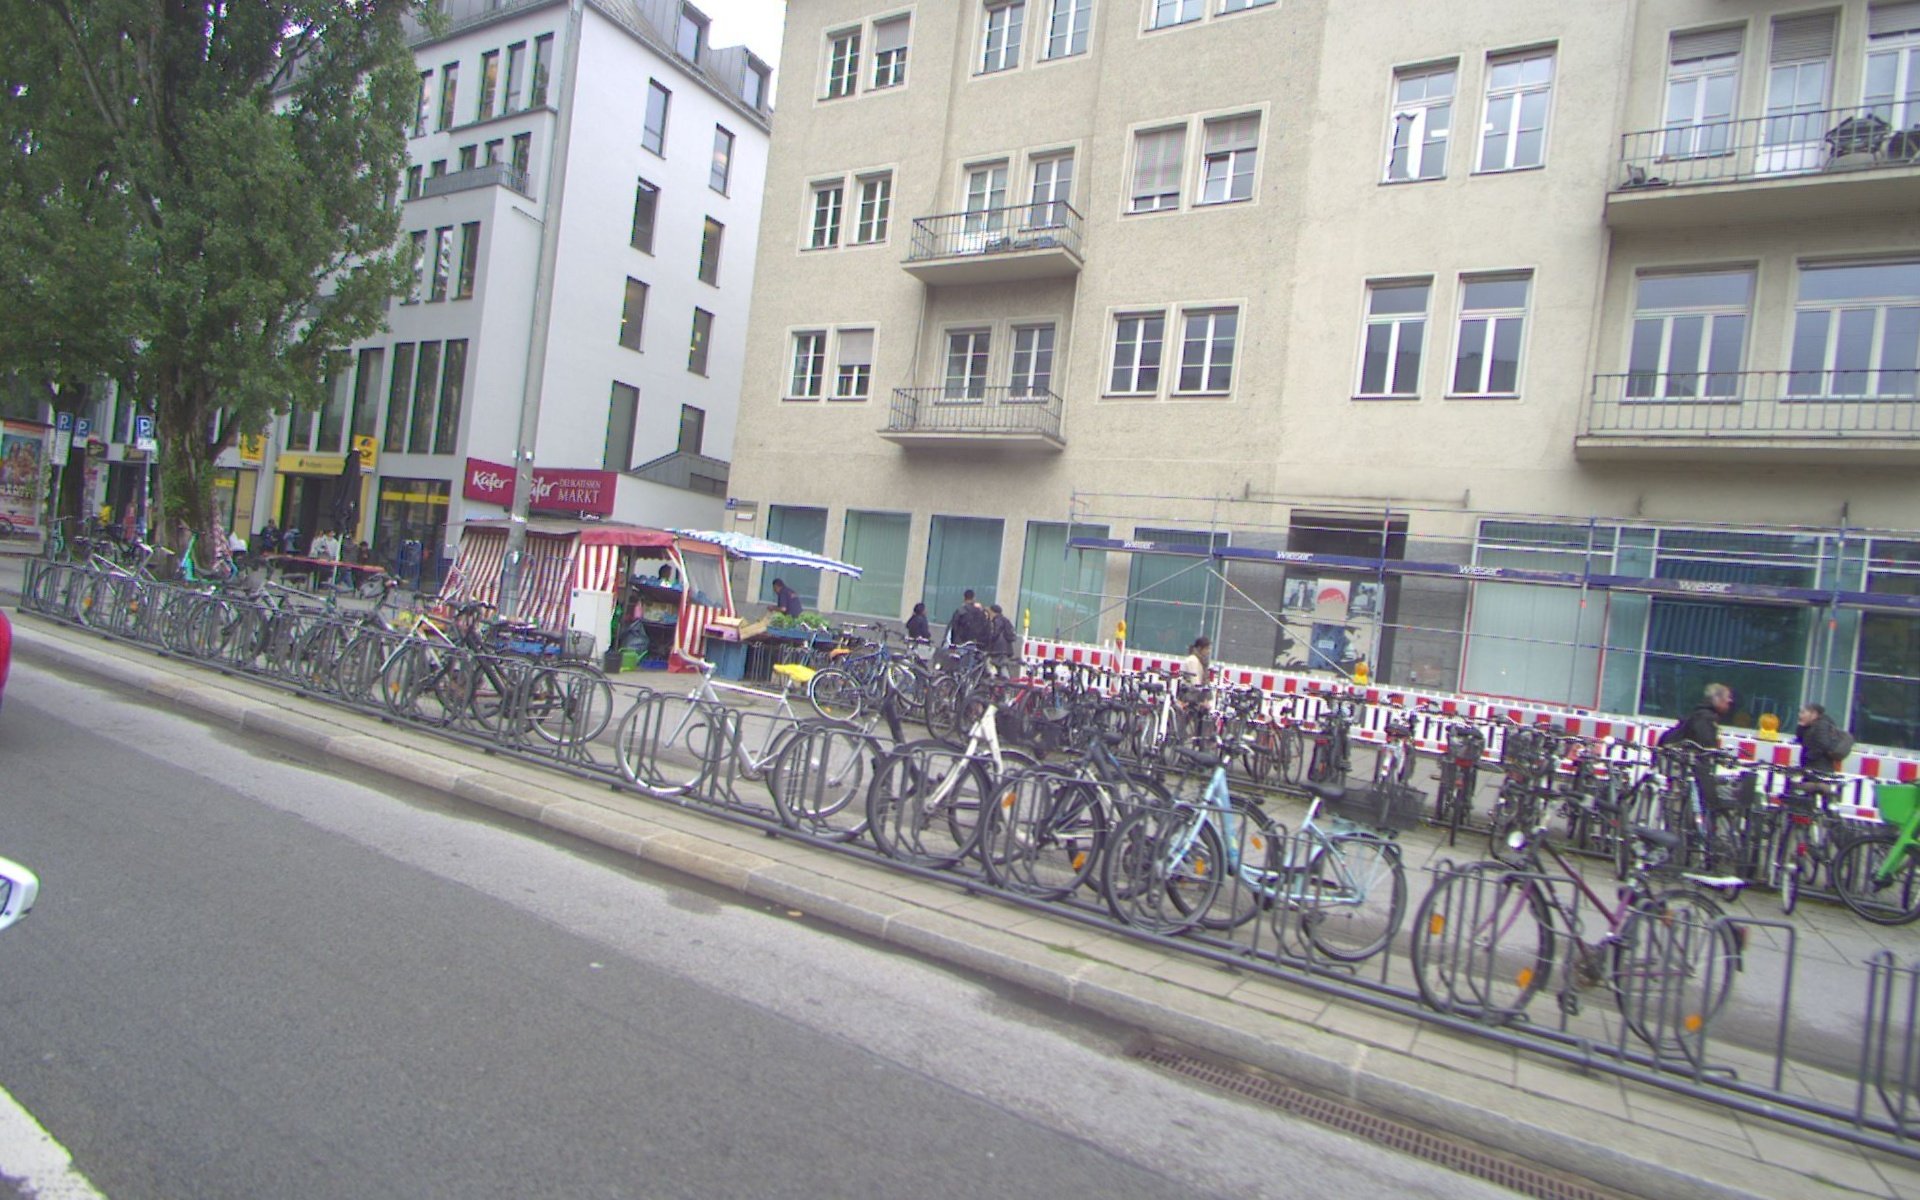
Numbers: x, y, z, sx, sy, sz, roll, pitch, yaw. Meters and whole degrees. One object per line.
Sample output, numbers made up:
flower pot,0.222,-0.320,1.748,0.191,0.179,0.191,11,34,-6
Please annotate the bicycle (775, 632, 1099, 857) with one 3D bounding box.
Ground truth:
bicycle,-0.118,0.884,6.062,1.779,1.070,0.396,11,-2,-20

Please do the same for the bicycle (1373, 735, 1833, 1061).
bicycle,2.749,1.271,4.286,1.825,1.070,0.396,11,-2,-14

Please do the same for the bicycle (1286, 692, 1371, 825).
bicycle,3.557,1.472,9.645,0.403,1.091,1.537,7,1,30

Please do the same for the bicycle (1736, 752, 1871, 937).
bicycle,6.426,1.802,7.727,0.403,1.091,1.653,7,0,30

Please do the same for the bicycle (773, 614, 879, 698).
bicycle,-1.896,0.818,14.456,0.404,1.117,1.628,7,1,36

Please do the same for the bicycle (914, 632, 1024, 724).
bicycle,0.141,1.033,13.255,0.404,1.117,1.626,7,1,40

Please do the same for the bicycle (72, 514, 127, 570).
bicycle,-20.862,-1.410,24.388,1.606,1.174,0.478,7,0,32

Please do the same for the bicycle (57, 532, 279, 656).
bicycle,-8.996,-0.051,11.508,1.779,1.065,0.544,11,-2,-21

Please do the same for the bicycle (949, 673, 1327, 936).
bicycle,0.945,1.079,5.308,1.825,1.070,0.396,11,-2,-14

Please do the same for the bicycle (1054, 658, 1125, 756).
bicycle,1.631,1.302,12.537,0.403,1.091,1.452,6,0,23

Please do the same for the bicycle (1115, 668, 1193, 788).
bicycle,2.047,1.293,10.489,0.403,1.091,1.452,6,0,23

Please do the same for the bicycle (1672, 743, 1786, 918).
bicycle,6.073,1.768,7.999,0.403,1.091,1.603,7,1,30

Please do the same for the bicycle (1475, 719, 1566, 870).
bicycle,4.885,1.628,8.724,0.404,1.091,1.634,7,1,36

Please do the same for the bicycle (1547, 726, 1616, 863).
bicycle,5.980,1.828,9.723,0.403,1.091,1.528,7,1,30

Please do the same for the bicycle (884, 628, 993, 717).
bicycle,-0.269,0.997,13.684,0.404,1.117,1.626,7,1,40

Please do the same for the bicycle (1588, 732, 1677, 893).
bicycle,5.658,1.735,8.517,0.403,1.091,1.623,7,0,30

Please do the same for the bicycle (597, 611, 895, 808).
bicycle,-1.409,0.744,6.736,1.779,1.021,0.384,11,-2,-20

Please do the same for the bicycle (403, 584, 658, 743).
bicycle,-3.528,0.538,8.385,1.779,1.021,0.384,11,-2,-20

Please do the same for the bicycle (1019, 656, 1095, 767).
bicycle,1.099,1.199,11.191,0.402,1.091,1.452,6,0,19

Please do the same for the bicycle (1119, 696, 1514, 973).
bicycle,1.797,1.179,5.048,1.825,1.070,0.396,11,-2,-14

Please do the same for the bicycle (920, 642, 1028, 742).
bicycle,0.192,1.086,11.980,0.404,1.091,1.478,7,1,36

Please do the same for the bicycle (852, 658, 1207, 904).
bicycle,0.398,1.021,5.675,1.825,1.070,0.396,11,-2,-14

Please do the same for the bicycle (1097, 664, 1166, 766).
bicycle,2.081,1.341,12.083,0.403,1.091,1.452,6,0,23

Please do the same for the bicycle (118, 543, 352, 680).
bicycle,-7.388,0.134,10.330,1.779,1.065,0.365,11,-2,-21

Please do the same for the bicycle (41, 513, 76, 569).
bicycle,-20.838,-1.386,23.274,0.476,1.174,1.803,7,0,-41

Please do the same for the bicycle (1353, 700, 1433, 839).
bicycle,4.039,1.522,9.326,0.403,1.091,1.526,7,1,30

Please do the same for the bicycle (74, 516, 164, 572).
bicycle,-21.396,-1.410,25.616,0.696,1.174,1.624,7,-1,45

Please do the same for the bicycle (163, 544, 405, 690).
bicycle,-6.704,0.188,10.078,1.779,1.117,0.544,11,-2,-20

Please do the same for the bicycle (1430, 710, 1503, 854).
bicycle,4.654,1.606,9.201,0.403,1.091,1.659,7,0,30

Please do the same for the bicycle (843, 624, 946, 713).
bicycle,-0.871,0.946,13.806,0.403,1.117,1.629,7,1,33

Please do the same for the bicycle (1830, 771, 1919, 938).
bicycle,7.206,1.902,6.950,0.404,1.091,1.754,6,0,-18

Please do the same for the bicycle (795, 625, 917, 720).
bicycle,-1.267,0.917,12.480,1.464,1.091,0.405,6,1,-44

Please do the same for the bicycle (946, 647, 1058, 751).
bicycle,0.508,1.127,11.604,0.404,1.091,1.446,7,1,39

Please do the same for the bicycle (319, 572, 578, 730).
bicycle,-4.289,0.446,8.548,1.776,1.021,0.385,11,-2,-16

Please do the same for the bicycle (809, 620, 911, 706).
bicycle,-1.384,0.890,14.255,0.403,1.117,1.629,7,1,33

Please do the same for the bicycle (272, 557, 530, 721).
bicycle,-4.864,0.357,8.890,1.779,1.117,0.544,11,-2,-20
